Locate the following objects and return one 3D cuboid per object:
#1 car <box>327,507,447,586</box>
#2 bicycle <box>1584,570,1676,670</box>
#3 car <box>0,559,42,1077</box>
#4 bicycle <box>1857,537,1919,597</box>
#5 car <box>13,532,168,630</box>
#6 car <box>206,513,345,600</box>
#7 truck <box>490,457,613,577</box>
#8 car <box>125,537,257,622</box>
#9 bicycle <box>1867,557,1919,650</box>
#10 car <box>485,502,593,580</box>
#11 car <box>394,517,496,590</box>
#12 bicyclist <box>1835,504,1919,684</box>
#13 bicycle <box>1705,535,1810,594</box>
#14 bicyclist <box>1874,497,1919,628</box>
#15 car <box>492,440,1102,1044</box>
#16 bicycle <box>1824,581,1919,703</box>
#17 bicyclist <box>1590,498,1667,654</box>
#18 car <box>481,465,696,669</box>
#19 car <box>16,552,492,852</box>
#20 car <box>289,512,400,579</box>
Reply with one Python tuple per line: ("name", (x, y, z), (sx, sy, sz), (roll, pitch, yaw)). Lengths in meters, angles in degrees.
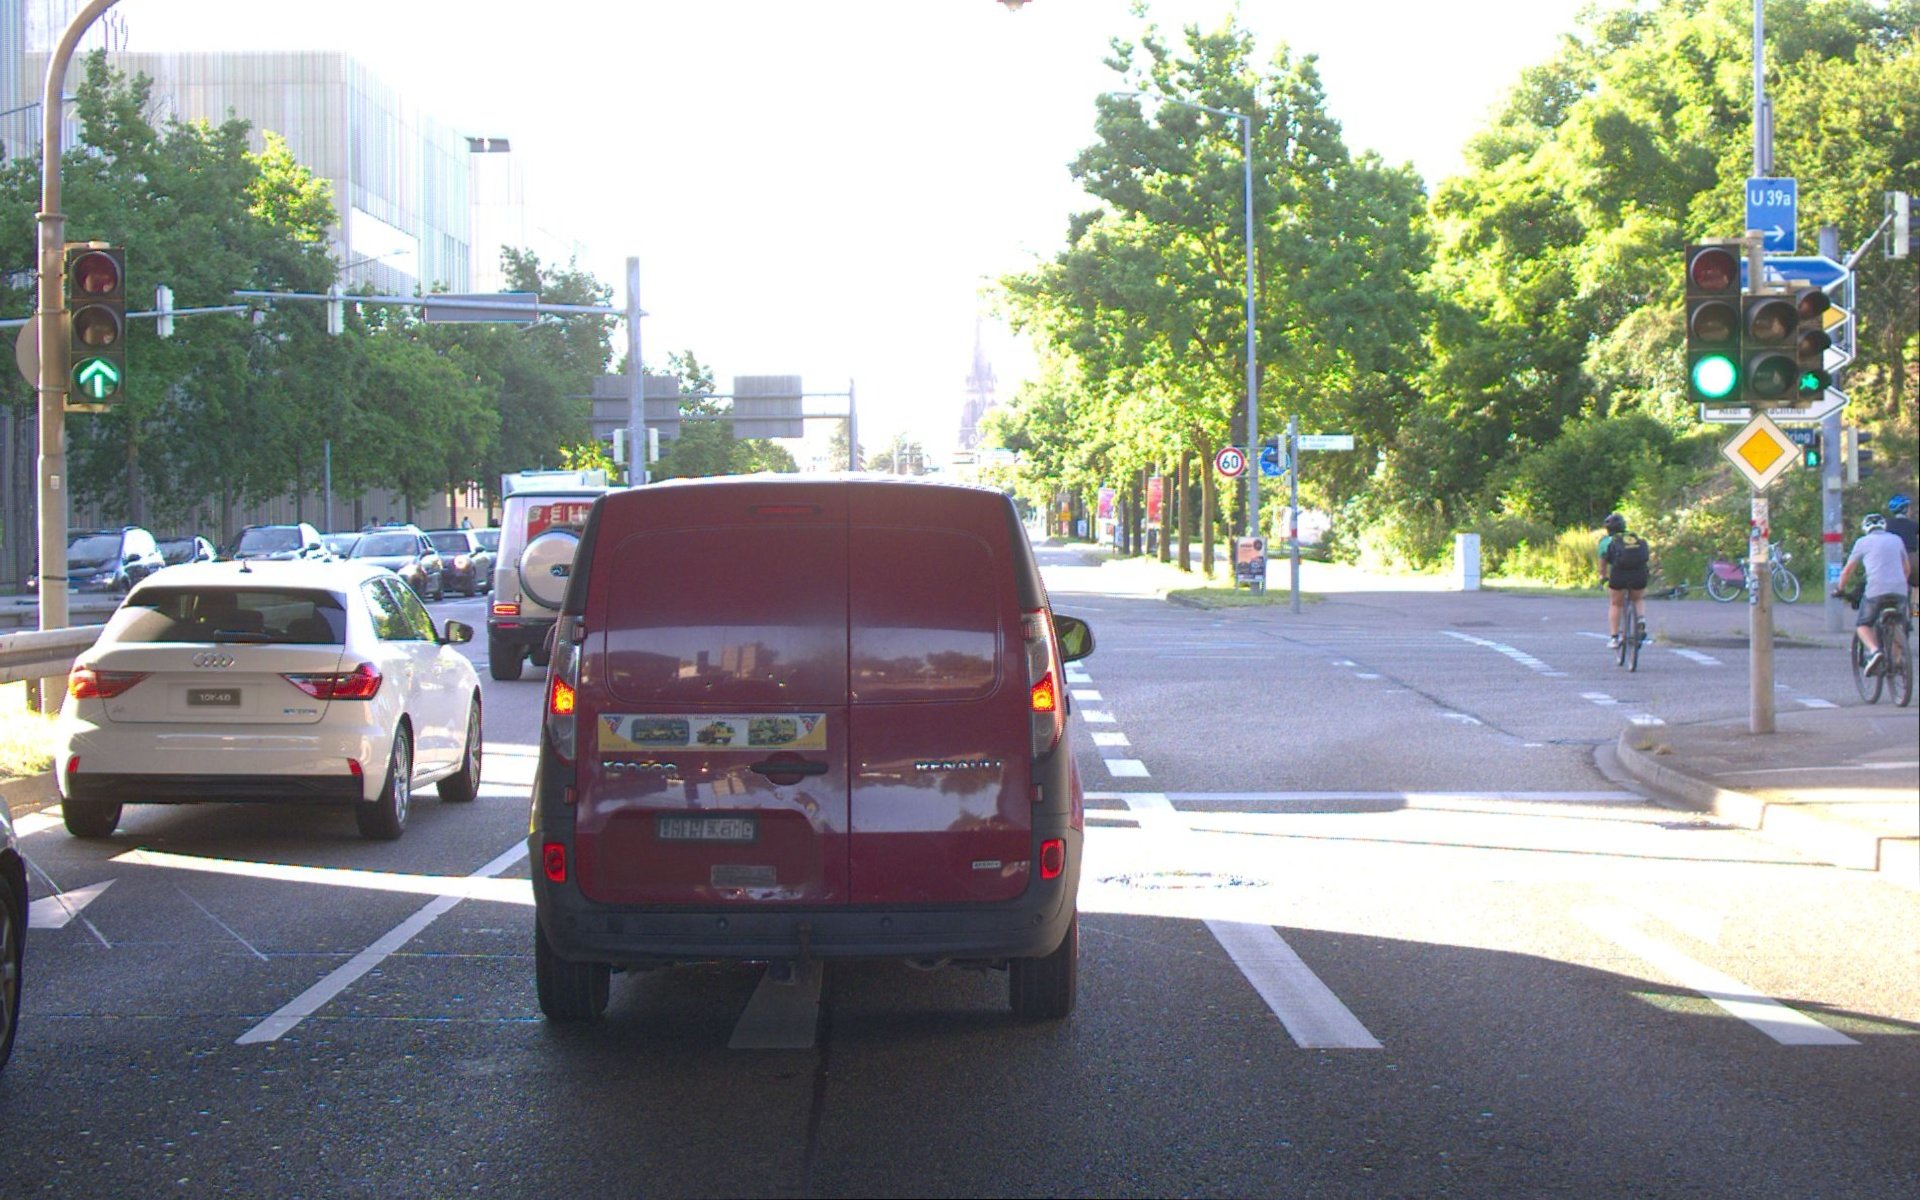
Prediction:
("car", (-11.290, -1.054, 67.935), (1.636, 1.438, 4.077), (-3, 1, 0))
("bicycle", (7.011, 0.204, 36.015), (0.591, 1.020, 1.750), (1, 0, -1))
("car", (-3.534, 0.633, 8.103), (1.733, 1.475, 4.319), (0, 0, -2))
("bicycle", (16.341, -0.556, 59.017), (1.745, 1.020, 0.593), (1, 0, 8))
("car", (-16.726, -0.388, 66.369), (1.824, 1.731, 4.629), (-3, 1, -1))
("car", (-13.850, -0.893, 69.780), (1.825, 1.620, 4.529), (-3, 1, 0))
("truck", (-10.982, -2.214, 92.971), (2.409, 3.016, 6.657), (-3, 1, 0))
("car", (-16.748, -0.468, 75.063), (1.824, 1.731, 4.529), (-3, 1, -1))
("bicycle", (10.728, 0.041, 39.024), (0.672, 1.020, 2.054), (1, 0, 11))
("car", (-8.337, -1.179, 68.370), (1.636, 1.438, 3.719), (-3, 1, 0))
("car", (-11.010, -0.998, 73.711), (1.636, 1.438, 4.077), (-3, 1, -2))
("bicyclist", (8.012, -0.050, 29.884), (0.591, 1.543, 0.769), (1, 0, -1))
("bicycle", (14.007, -0.619, 60.390), (1.745, 1.020, 0.593), (1, 0, 8))
("bicyclist", (10.705, -0.418, 38.885), (0.665, 1.469, 0.750), (1, 0, 12))
("car", (-0.518, 0.427, 12.274), (1.805, 1.788, 4.000), (1, 0, -1))
("bicycle", (8.036, 0.356, 29.869), (0.591, 1.020, 1.750), (1, 0, -1))
("bicyclist", (7.000, -0.244, 36.011), (0.591, 1.608, 0.942), (1, 0, -1))
("car", (-3.817, -0.321, 35.994), (1.801, 1.982, 4.589), (1, 0, -1))
("car", (-3.710, 0.474, 18.687), (1.813, 1.433, 3.731), (0, 1, 0))
("car", (-13.848, -1.230, 77.523), (1.646, 1.399, 3.978), (-3, 1, 1))
